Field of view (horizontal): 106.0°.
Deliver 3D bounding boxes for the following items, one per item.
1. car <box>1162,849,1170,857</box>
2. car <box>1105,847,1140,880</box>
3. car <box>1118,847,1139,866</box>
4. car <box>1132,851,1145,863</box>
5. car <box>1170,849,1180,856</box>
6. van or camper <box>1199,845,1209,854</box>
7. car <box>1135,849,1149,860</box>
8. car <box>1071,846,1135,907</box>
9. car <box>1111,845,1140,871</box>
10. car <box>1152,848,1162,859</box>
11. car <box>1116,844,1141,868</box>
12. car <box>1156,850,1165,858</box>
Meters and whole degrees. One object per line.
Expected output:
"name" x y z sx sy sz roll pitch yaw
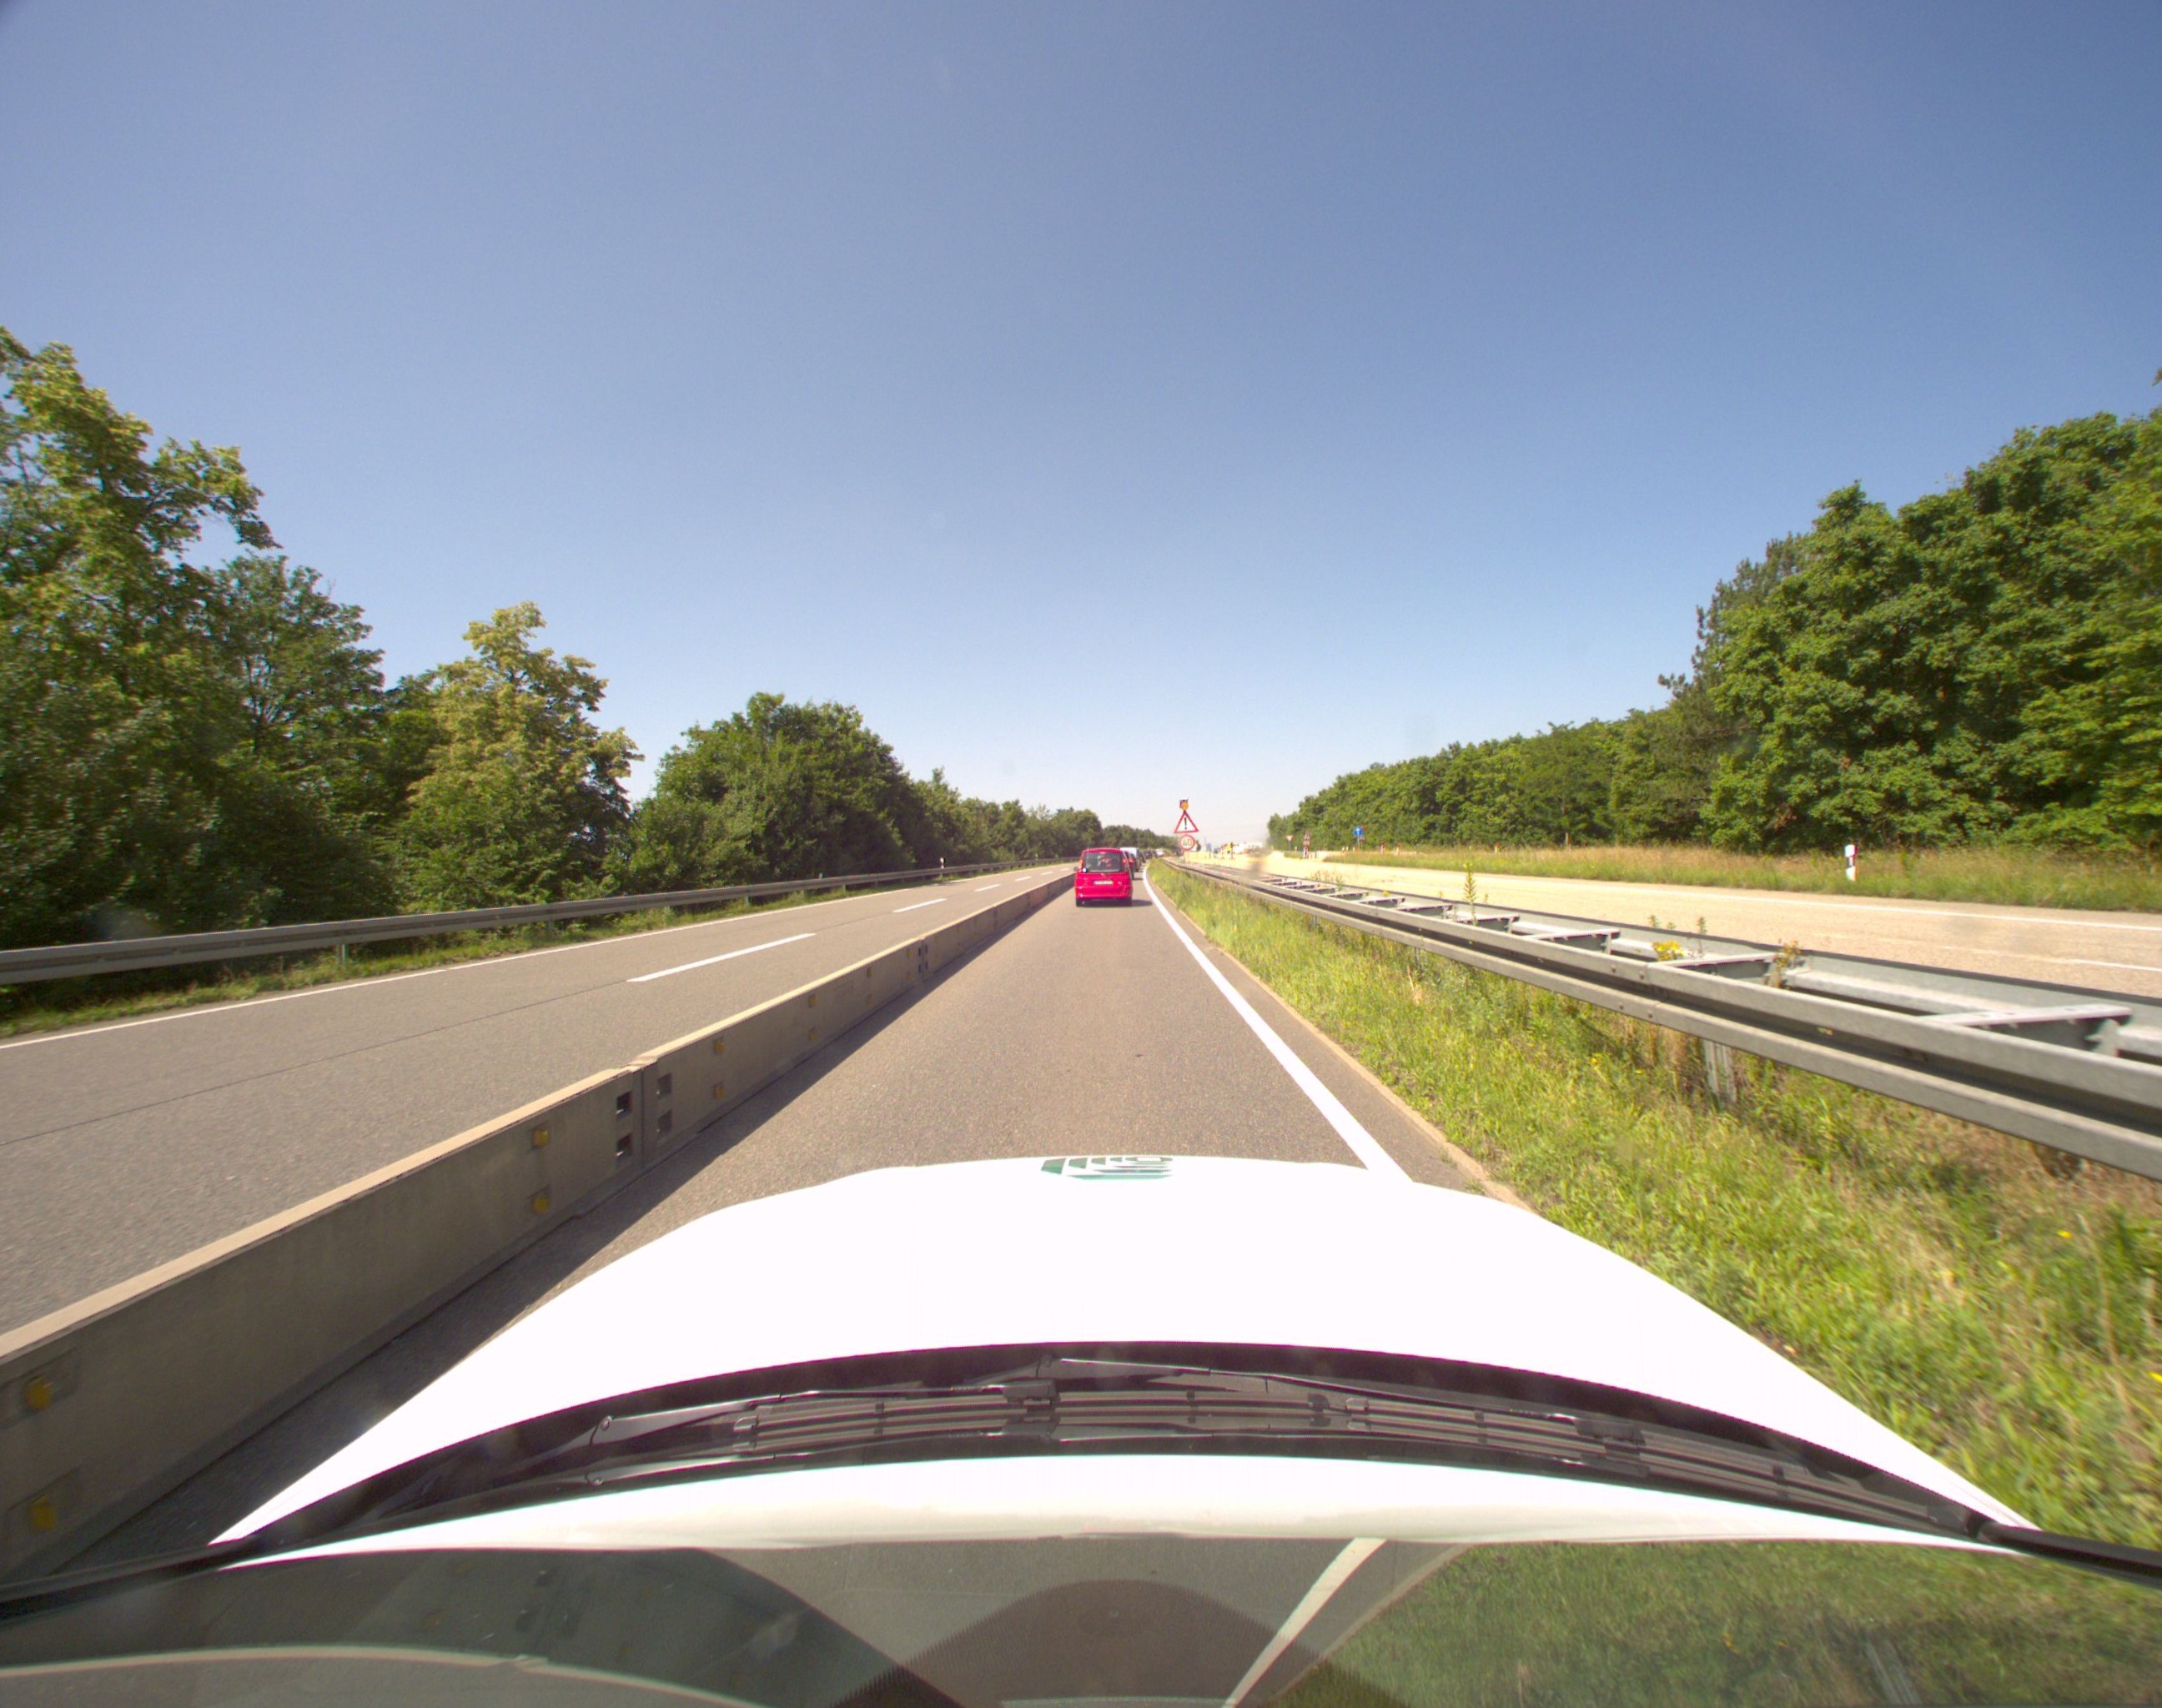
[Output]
"car" 17.460 -0.215 167.756 1.494 1.450 3.176 -2 0 7
"car" 2.307 0.483 45.059 1.823 1.722 4.003 -1 0 3
"car" 4.755 0.250 82.107 1.986 1.750 4.001 -2 0 1
"car" 6.900 0.352 97.828 1.495 1.450 3.329 -1 0 5
"car" 22.087 -0.367 191.482 1.984 1.552 4.005 -1 0 4
"van or camper" 36.427 -1.355 241.193 2.319 2.707 4.596 -2 0 2
"car" 9.059 0.078 120.548 1.984 1.585 4.005 -1 0 4
"car" 0.653 0.626 24.690 1.745 1.673 4.001 -1 0 1
"car" 3.338 0.288 60.769 1.985 1.838 4.004 -2 0 4
"car" 12.679 -0.068 135.982 1.494 1.736 3.174 -2 0 5
"car" 4.026 0.179 69.697 1.986 2.003 4.002 -1 0 2
"car" 14.828 -0.023 151.924 1.414 1.298 2.885 -1 0 7
